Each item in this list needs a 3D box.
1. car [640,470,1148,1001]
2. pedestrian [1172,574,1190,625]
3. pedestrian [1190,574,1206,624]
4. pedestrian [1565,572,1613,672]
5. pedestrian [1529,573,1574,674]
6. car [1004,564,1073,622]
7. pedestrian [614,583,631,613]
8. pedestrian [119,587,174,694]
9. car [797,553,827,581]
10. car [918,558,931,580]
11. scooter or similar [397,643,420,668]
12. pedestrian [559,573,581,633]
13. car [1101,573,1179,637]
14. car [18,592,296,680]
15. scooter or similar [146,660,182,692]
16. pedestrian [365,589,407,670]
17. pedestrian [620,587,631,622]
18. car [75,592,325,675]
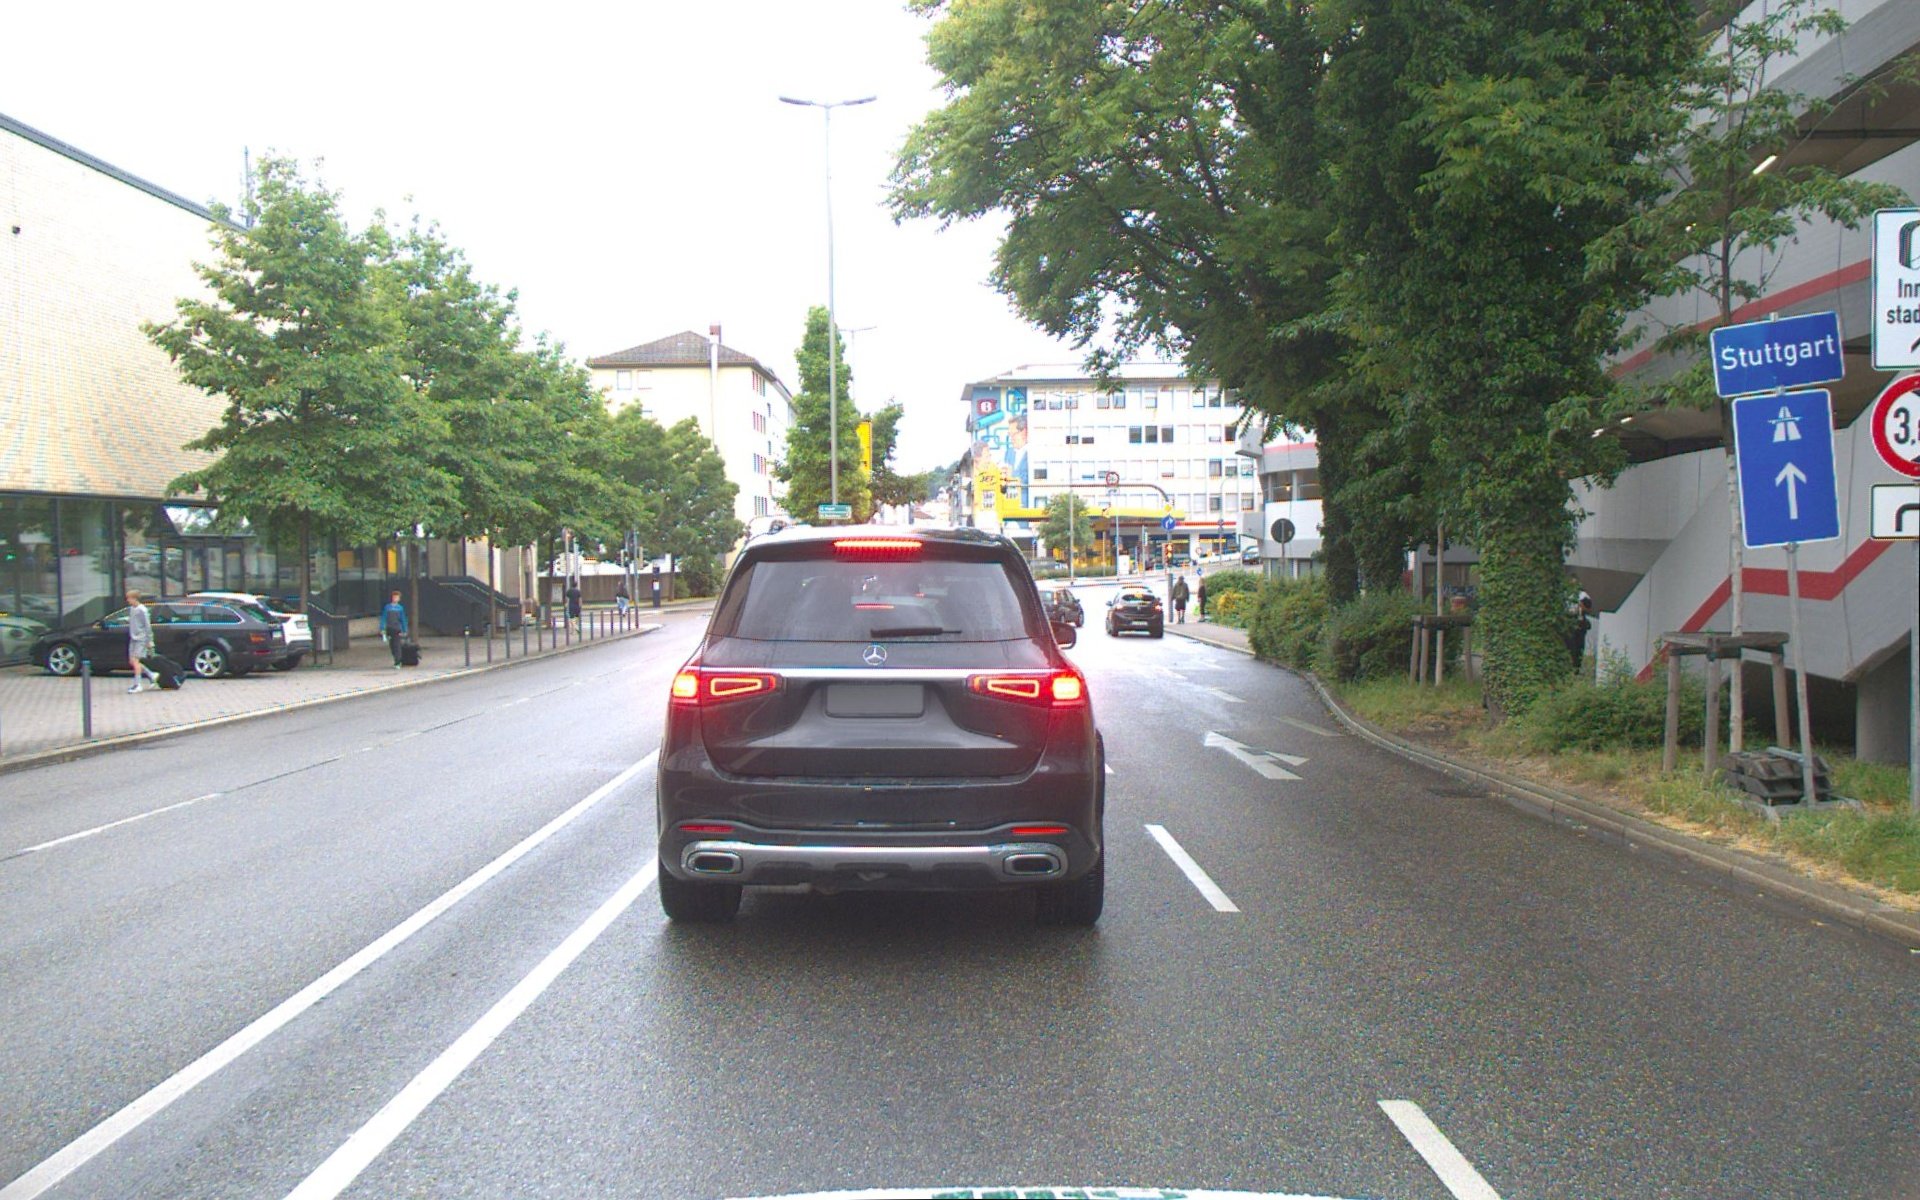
[{"bbox_3d":[-0.325,0.548,8.484,1.953,2.049,3.998,1,0,-2],"label":"car"},{"bbox_3d":[8.671,-0.023,64.975,0.607,1.969,0.610,1,-1,1],"label":"pedestrian"},{"bbox_3d":[9.442,-0.038,65.588,0.509,1.944,0.556,1,-1,-1],"label":"pedestrian"},{"bbox_3d":[9.828,0.341,25.864,0.569,1.528,0.504,1,-1,4],"label":"pedestrian"},{"bbox_3d":[9.245,0.370,25.877,0.539,1.559,0.488,1,-1,5],"label":"pedestrian"},{"bbox_3d":[2.894,-0.231,61.638,1.955,2.049,3.994,1,0,-6],"label":"car"},{"bbox_3d":[-16.967,-0.099,83.164,0.697,1.487,0.598,1,-1,-2],"label":"pedestrian"},{"bbox_3d":[-13.406,0.662,27.262,0.662,1.726,0.479,1,1,-1],"label":"pedestrian"},{"bbox_3d":[-10.839,-2.414,121.461,1.954,1.908,5.139,1,0,-3],"label":"car"},{"bbox_3d":[-5.536,-4.847,258.000,1.953,2.036,4.023,1,24,-2],"label":"car"},{"bbox_3d":[-12.613,1.267,37.816,0.352,0.545,0.499,1,-2,-2],"label":"scooter or similar"},{"bbox_3d":[-13.547,0.104,57.434,0.576,2.049,0.749,1,0,-3],"label":"pedestrian"},{"bbox_3d":[5.910,0.131,54.673,1.954,2.049,3.998,0,1,-3],"label":"car"},{"bbox_3d":[-15.339,0.673,31.818,4.383,1.615,1.997,0,0,-8],"label":"car"},{"bbox_3d":[-13.321,1.266,27.684,0.274,0.509,0.616,1,-1,1],"label":"scooter or similar"},{"bbox_3d":[-12.812,0.647,36.951,0.675,1.755,0.754,1,1,-2],"label":"pedestrian"},{"bbox_3d":[-16.092,0.230,79.492,0.391,1.673,0.567,1,-1,-1],"label":"pedestrian"},{"bbox_3d":[-15.849,0.682,34.688,4.331,1.601,1.998,1,2,-6],"label":"car"}]
